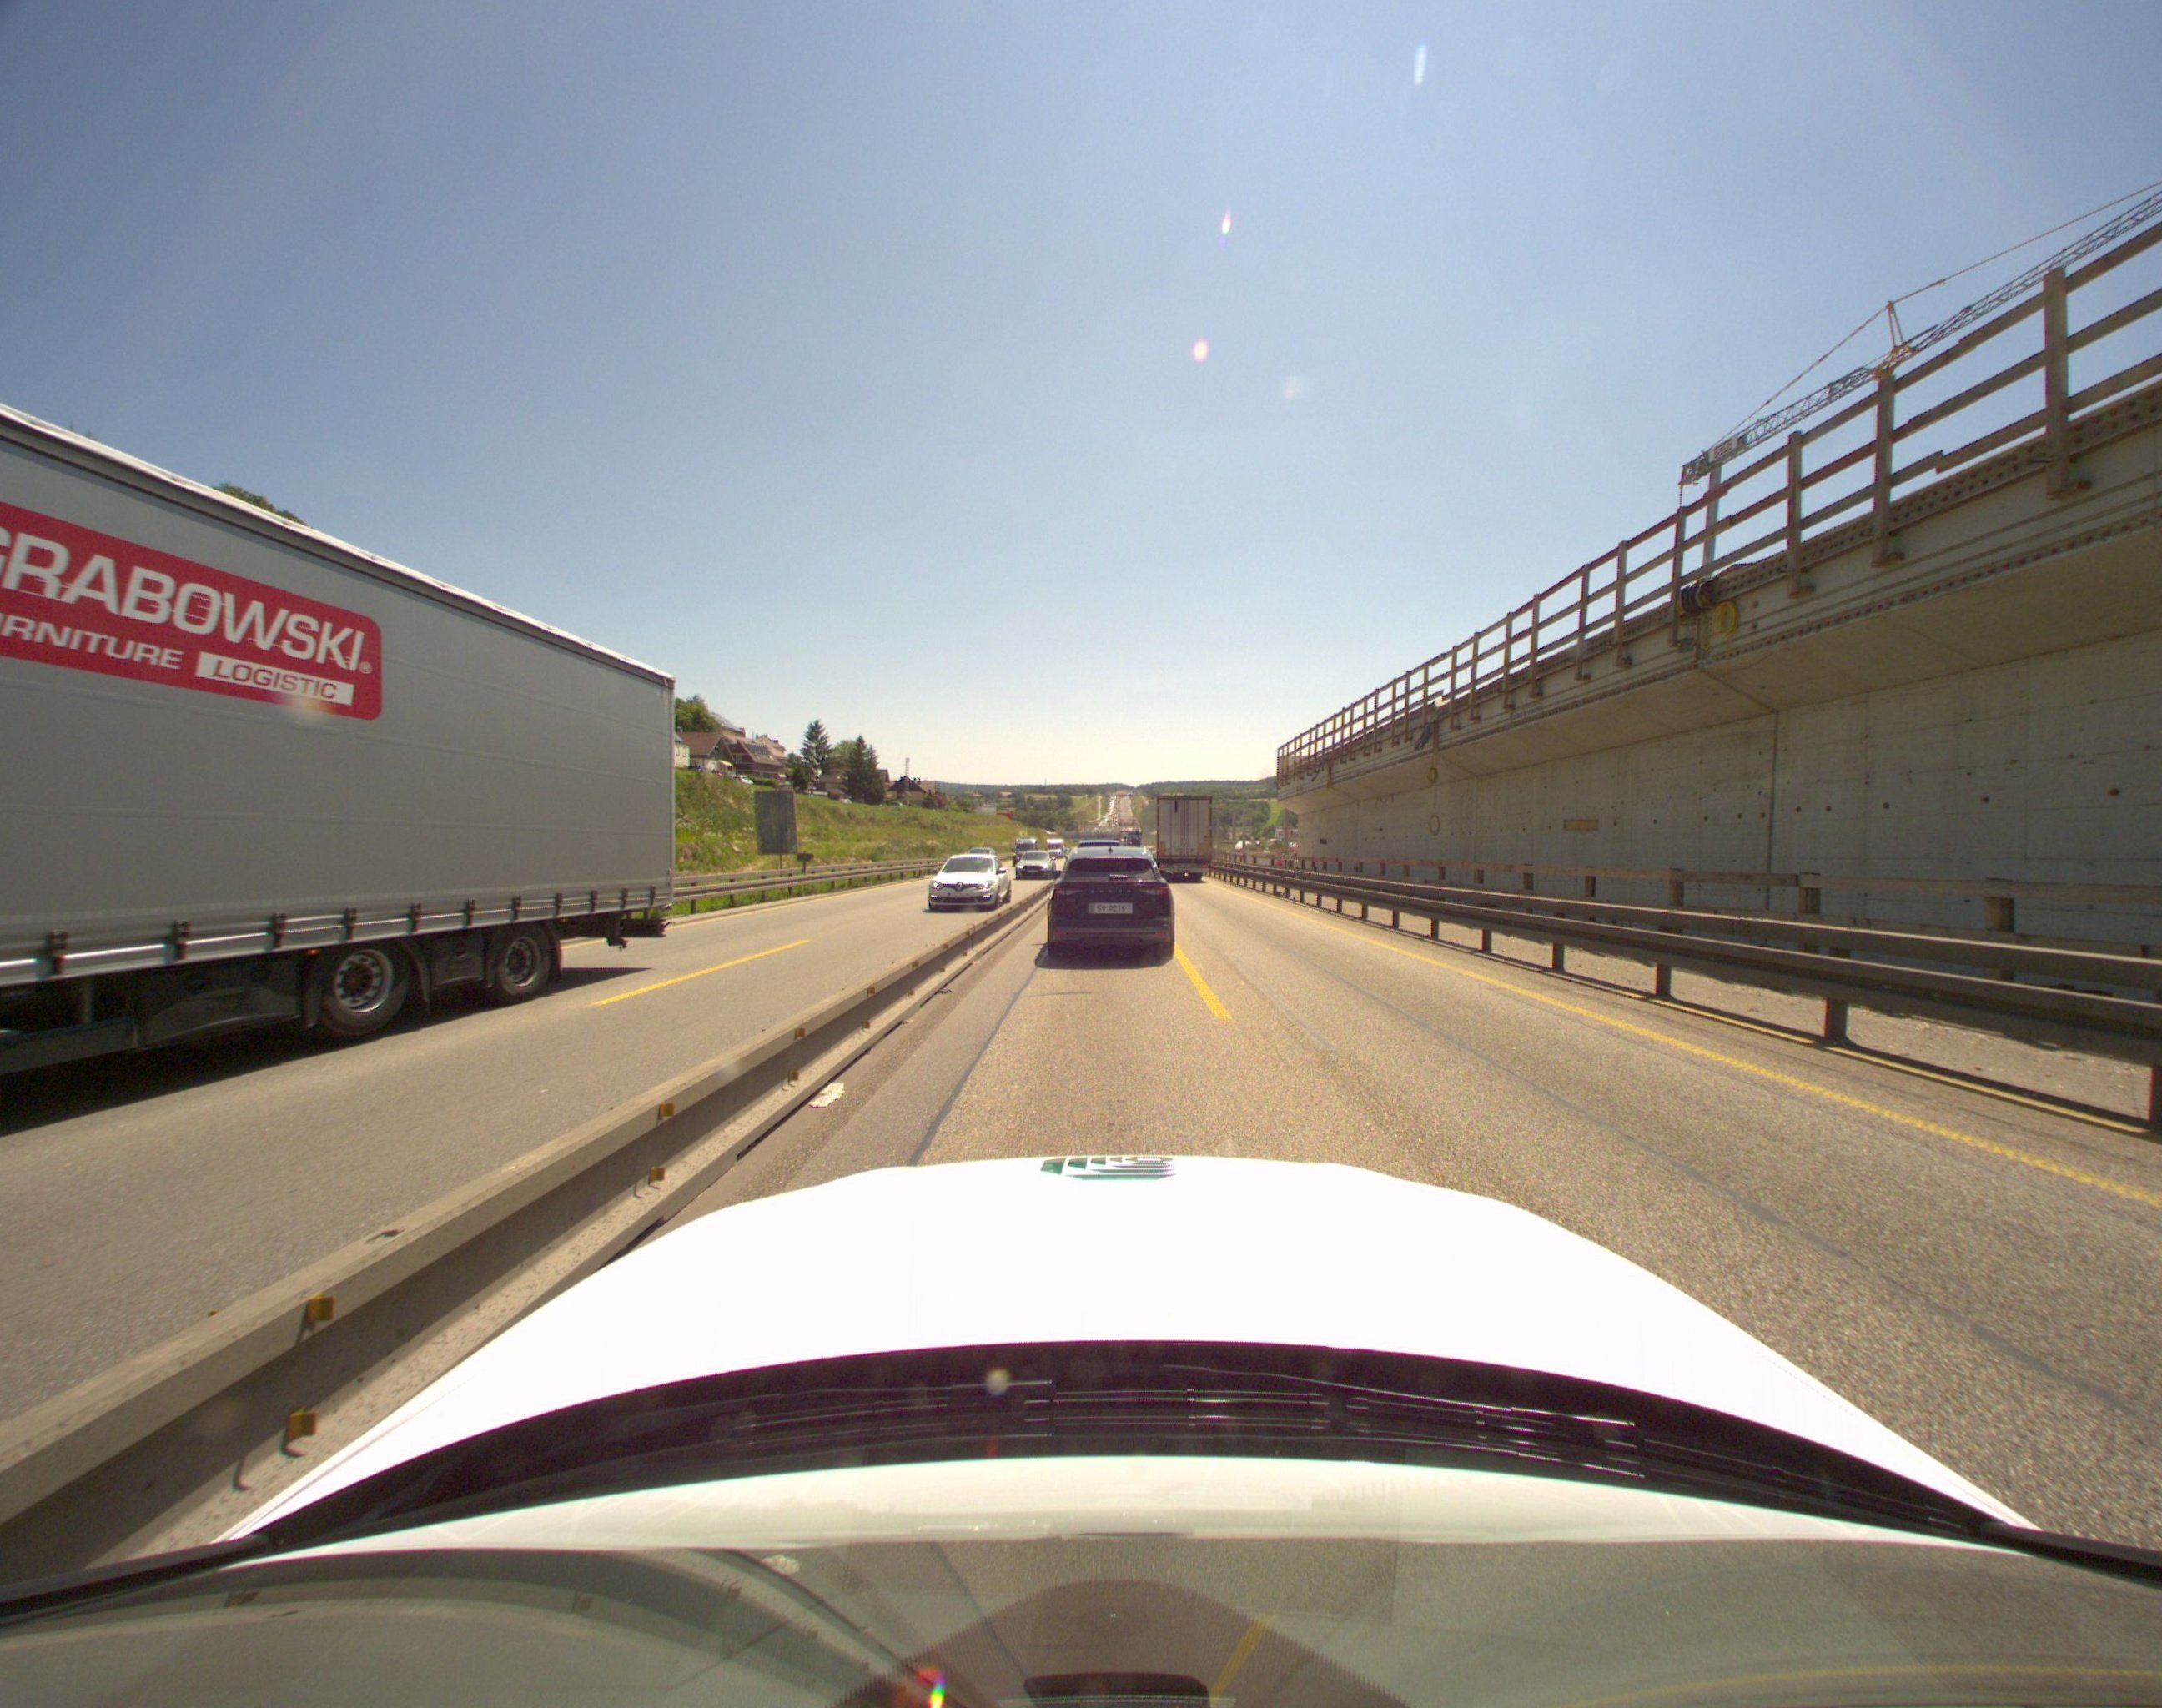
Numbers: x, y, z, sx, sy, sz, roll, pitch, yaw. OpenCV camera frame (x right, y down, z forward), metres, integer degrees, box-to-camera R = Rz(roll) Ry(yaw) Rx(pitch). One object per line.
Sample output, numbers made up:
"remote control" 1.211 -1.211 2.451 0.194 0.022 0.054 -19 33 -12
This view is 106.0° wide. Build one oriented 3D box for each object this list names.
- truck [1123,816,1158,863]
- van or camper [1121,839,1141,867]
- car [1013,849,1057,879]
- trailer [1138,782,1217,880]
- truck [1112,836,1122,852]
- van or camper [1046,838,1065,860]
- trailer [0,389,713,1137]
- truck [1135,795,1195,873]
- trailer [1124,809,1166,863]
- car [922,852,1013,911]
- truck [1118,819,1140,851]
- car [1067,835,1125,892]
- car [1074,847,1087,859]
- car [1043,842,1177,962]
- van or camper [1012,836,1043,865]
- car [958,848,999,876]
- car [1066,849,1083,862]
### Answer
"truck" 5.963 -1.337 82.274 3.168 4.513 8.168 0 -1 2
"van or camper" 6.106 -0.125 98.648 2.378 3.281 6.475 0 -1 4
"car" -2.312 0.484 42.055 1.822 1.433 4.631 -1 0 2
"trailer" 4.913 -1.149 44.304 3.168 4.512 13.115 0 1 2
"truck" 9.692 -2.669 218.902 2.630 4.194 9.288 0 -1 2
"van or camper" -3.680 -0.757 116.952 2.282 3.066 6.927 0 0 2
"trailer" -7.126 -0.479 7.923 2.918 3.989 8.709 0 0 1
"truck" 5.110 -1.202 50.833 3.168 4.512 8.169 0 1 2
"trailer" 5.736 -1.427 75.161 3.168 4.513 14.972 0 -1 2
"car" -2.976 0.673 22.181 1.795 1.464 4.002 0 0 2
"truck" 7.289 -2.850 124.842 2.842 4.465 11.920 0 -1 1
"car" 0.578 0.357 30.156 1.986 1.926 4.509 0 -1 1
"car" -0.053 -0.138 120.238 1.831 1.828 5.041 0 0 1
"car" 0.475 0.644 12.875 1.795 1.607 4.002 0 0 2
"van or camper" -4.844 -0.313 74.558 2.132 2.573 6.567 0 0 2
"car" -6.118 0.458 49.097 1.766 1.582 4.287 1 0 2
"car" -0.773 0.186 95.444 1.836 1.475 4.837 0 0 2
